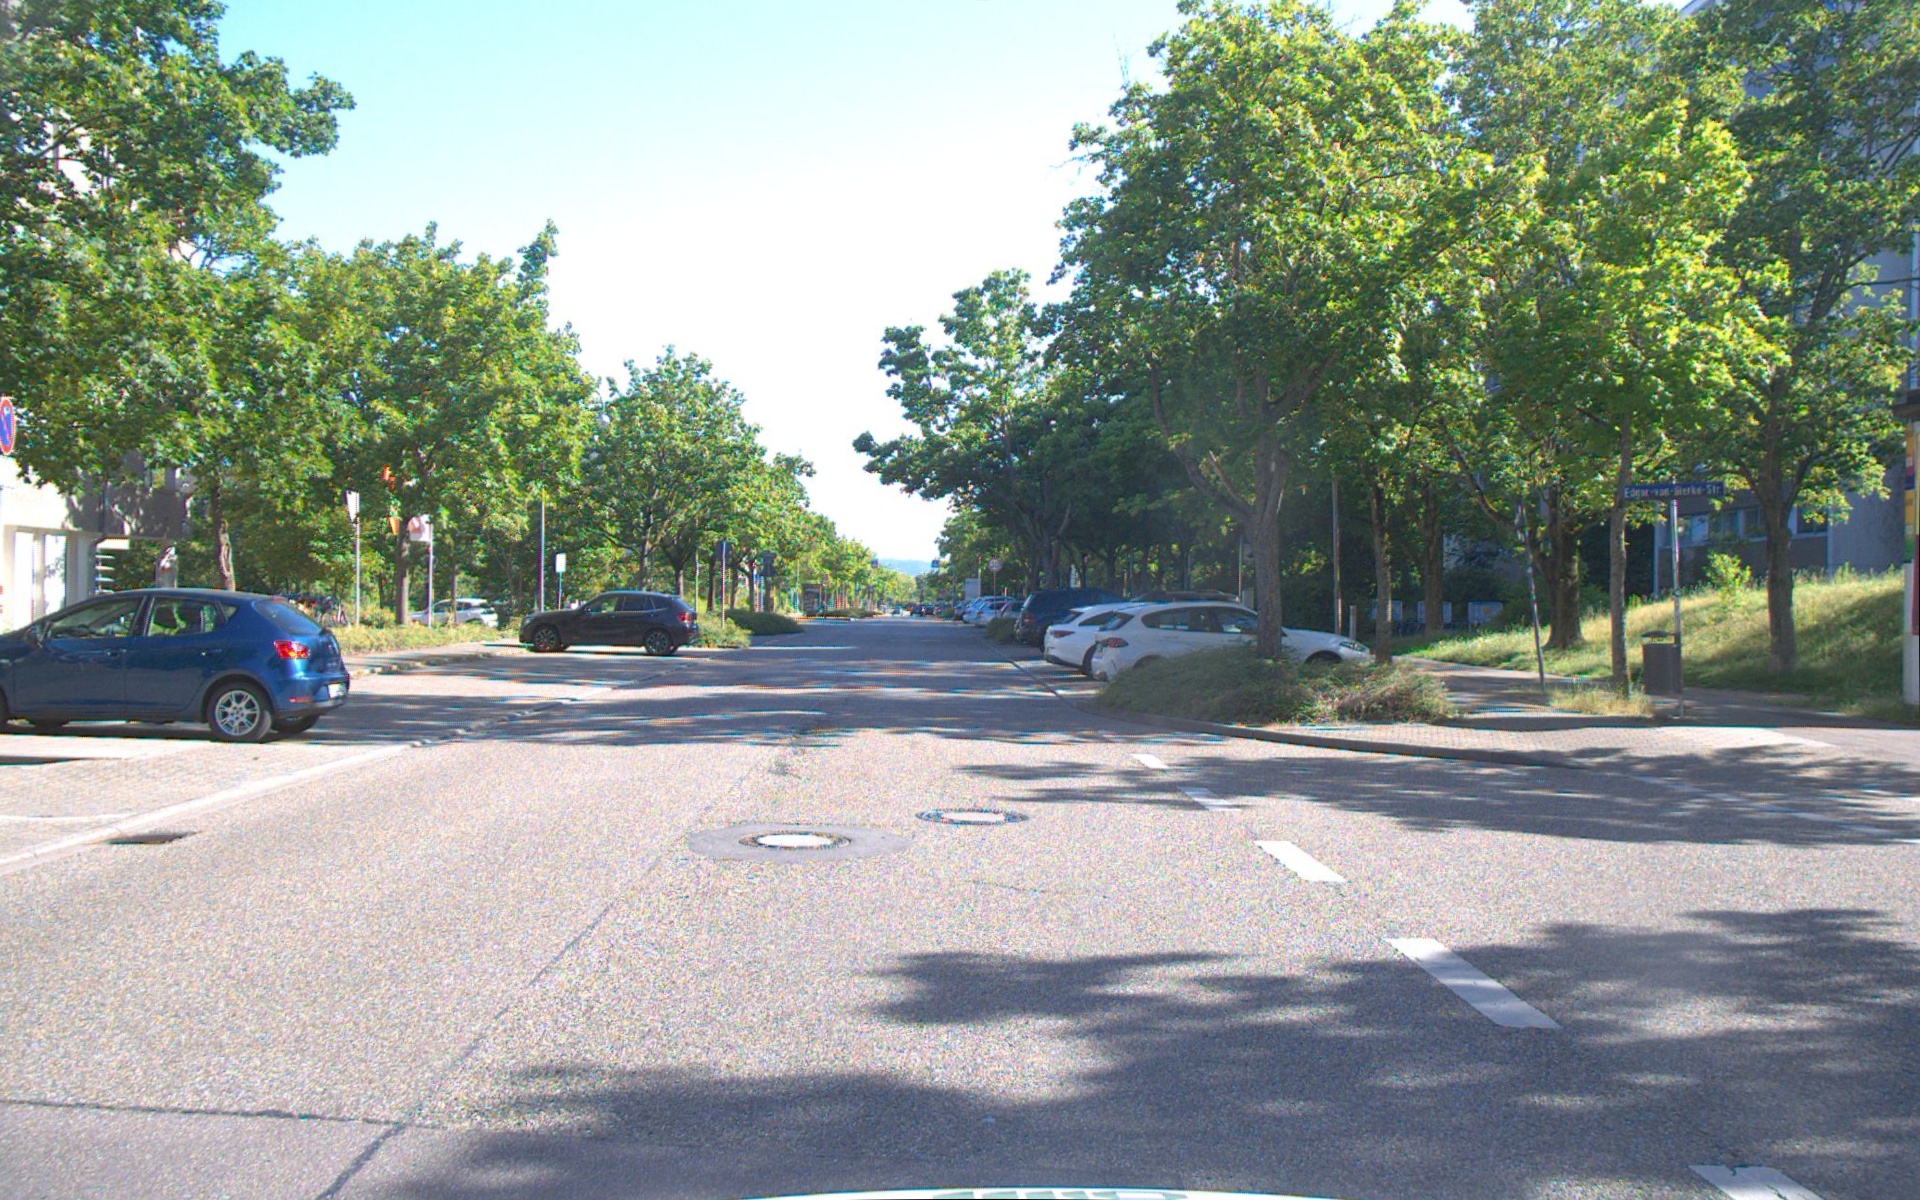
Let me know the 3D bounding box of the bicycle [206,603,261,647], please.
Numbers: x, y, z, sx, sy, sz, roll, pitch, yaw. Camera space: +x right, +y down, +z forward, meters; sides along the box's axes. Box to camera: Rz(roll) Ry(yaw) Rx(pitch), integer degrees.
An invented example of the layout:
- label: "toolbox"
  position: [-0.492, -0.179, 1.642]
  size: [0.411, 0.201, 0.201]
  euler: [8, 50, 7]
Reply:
- label: "bicycle"
  position: [-18.357, 0.615, 41.847]
  size: [0.428, 1.066, 2.192]
  euler: [1, 0, -1]

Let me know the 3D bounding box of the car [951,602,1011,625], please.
- label: "car"
  position: [1.432, 0.939, 114.506]
  size: [4.080, 1.453, 1.999]
  euler: [-2, 0, -2]

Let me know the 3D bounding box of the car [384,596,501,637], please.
- label: "car"
  position: [-19.995, 0.643, 64.003]
  size: [3.994, 1.476, 1.624]
  euler: [-1, 0, 0]

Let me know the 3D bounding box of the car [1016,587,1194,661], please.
- label: "car"
  position: [3.797, 0.626, 43.858]
  size: [4.494, 1.810, 1.999]
  euler: [-1, 0, -2]

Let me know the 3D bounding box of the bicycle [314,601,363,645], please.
- label: "bicycle"
  position: [-15.765, 0.575, 41.988]
  size: [0.428, 1.066, 2.192]
  euler: [1, 0, -1]

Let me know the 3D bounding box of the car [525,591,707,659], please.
- label: "car"
  position: [-8.498, 0.617, 41.080]
  size: [4.107, 1.547, 1.771]
  euler: [1, 0, -1]

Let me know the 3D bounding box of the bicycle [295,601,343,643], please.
- label: "bicycle"
  position: [-16.832, 0.569, 43.466]
  size: [0.428, 1.066, 2.192]
  euler: [1, 0, -1]

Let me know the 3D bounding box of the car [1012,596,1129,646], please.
- label: "car"
  position: [3.704, 0.702, 55.844]
  size: [3.734, 1.525, 1.700]
  euler: [-2, 0, -5]

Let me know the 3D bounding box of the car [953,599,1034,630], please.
- label: "car"
  position: [1.810, 0.798, 90.148]
  size: [4.256, 1.515, 1.737]
  euler: [-2, 0, -3]

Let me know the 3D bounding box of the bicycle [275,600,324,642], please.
- label: "bicycle"
  position: [-17.340, 0.546, 43.461]
  size: [0.428, 1.066, 2.192]
  euler: [1, 0, -1]

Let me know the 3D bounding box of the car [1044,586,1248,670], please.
- label: "car"
  position: [3.884, 0.587, 34.931]
  size: [4.036, 1.646, 1.732]
  euler: [-1, -1, -4]

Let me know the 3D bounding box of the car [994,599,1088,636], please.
- label: "car"
  position: [3.479, 0.760, 71.488]
  size: [3.906, 1.476, 1.717]
  euler: [-1, 0, -1]

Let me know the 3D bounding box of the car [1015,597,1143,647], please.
- label: "car"
  position: [3.785, 0.687, 53.064]
  size: [3.906, 1.411, 1.822]
  euler: [-2, 0, -2]

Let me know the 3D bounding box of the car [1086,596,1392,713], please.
- label: "car"
  position: [4.265, 0.809, 25.695]
  size: [4.340, 1.621, 1.835]
  euler: [-2, 0, -4]

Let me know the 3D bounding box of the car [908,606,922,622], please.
- label: "car"
  position: [-6.580, 2.061, 243.996]
  size: [1.953, 2.048, 4.000]
  euler: [1, 1, -1]

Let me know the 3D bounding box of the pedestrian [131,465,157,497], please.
- label: "pedestrian"
  position: [-18.946, -2.762, 38.402]
  size: [0.408, 0.698, 0.426]
  euler: [1, -1, -10]

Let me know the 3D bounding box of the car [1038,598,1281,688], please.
- label: "car"
  position: [3.773, 0.811, 31.779]
  size: [4.355, 1.572, 1.816]
  euler: [1, 0, -4]

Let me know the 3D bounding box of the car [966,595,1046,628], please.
- label: "car"
  position: [2.556, 0.643, 92.873]
  size: [4.347, 1.676, 1.815]
  euler: [-2, 0, -3]

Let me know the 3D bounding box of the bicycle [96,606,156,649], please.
- label: "bicycle"
  position: [-21.141, 0.679, 41.964]
  size: [0.428, 1.066, 2.192]
  euler: [1, 0, -1]

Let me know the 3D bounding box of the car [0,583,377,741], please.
- label: "car"
  position: [-8.068, 0.583, 16.445]
  size: [3.909, 1.436, 1.815]
  euler: [1, 0, -5]

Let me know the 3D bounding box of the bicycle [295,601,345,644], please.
- label: "bicycle"
  position: [-16.227, 0.565, 41.967]
  size: [0.428, 1.066, 2.192]
  euler: [1, 0, -1]

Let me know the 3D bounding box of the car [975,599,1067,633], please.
- label: "car"
  position: [2.820, 0.738, 76.347]
  size: [4.185, 1.453, 1.828]
  euler: [1, 0, 3]

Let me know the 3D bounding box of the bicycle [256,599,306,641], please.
- label: "bicycle"
  position: [-17.824, 0.526, 43.464]
  size: [0.428, 1.066, 2.192]
  euler: [1, 0, -1]
